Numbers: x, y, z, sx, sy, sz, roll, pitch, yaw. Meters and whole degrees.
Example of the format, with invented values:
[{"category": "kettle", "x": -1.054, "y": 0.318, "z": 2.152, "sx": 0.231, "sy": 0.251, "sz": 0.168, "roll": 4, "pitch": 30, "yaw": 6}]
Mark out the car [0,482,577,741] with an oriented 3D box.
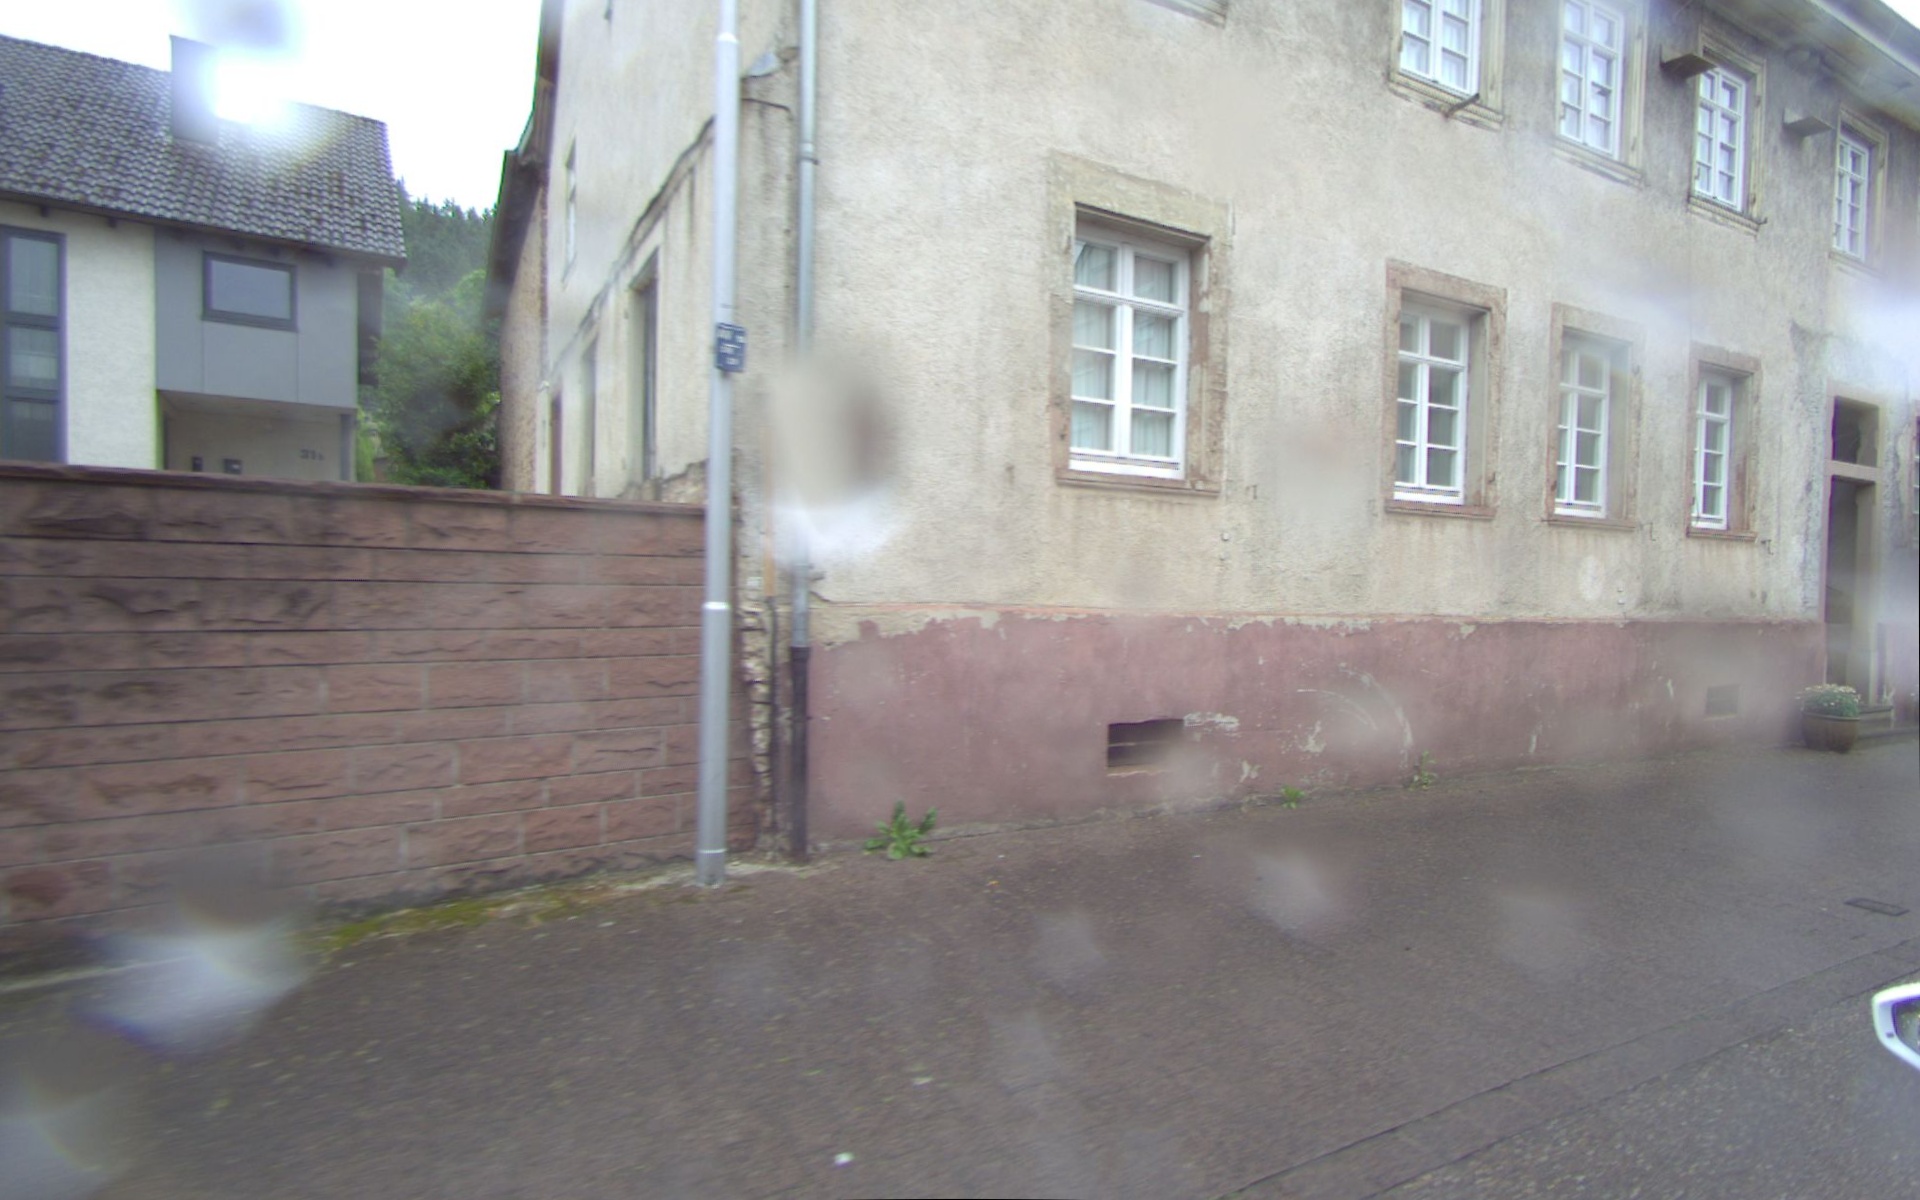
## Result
[{"category": "car", "x": -5.706, "y": -0.004, "z": 8.464, "sx": 4.260, "sy": 1.739, "sz": 1.973, "roll": -3, "pitch": 3, "yaw": -35}]
